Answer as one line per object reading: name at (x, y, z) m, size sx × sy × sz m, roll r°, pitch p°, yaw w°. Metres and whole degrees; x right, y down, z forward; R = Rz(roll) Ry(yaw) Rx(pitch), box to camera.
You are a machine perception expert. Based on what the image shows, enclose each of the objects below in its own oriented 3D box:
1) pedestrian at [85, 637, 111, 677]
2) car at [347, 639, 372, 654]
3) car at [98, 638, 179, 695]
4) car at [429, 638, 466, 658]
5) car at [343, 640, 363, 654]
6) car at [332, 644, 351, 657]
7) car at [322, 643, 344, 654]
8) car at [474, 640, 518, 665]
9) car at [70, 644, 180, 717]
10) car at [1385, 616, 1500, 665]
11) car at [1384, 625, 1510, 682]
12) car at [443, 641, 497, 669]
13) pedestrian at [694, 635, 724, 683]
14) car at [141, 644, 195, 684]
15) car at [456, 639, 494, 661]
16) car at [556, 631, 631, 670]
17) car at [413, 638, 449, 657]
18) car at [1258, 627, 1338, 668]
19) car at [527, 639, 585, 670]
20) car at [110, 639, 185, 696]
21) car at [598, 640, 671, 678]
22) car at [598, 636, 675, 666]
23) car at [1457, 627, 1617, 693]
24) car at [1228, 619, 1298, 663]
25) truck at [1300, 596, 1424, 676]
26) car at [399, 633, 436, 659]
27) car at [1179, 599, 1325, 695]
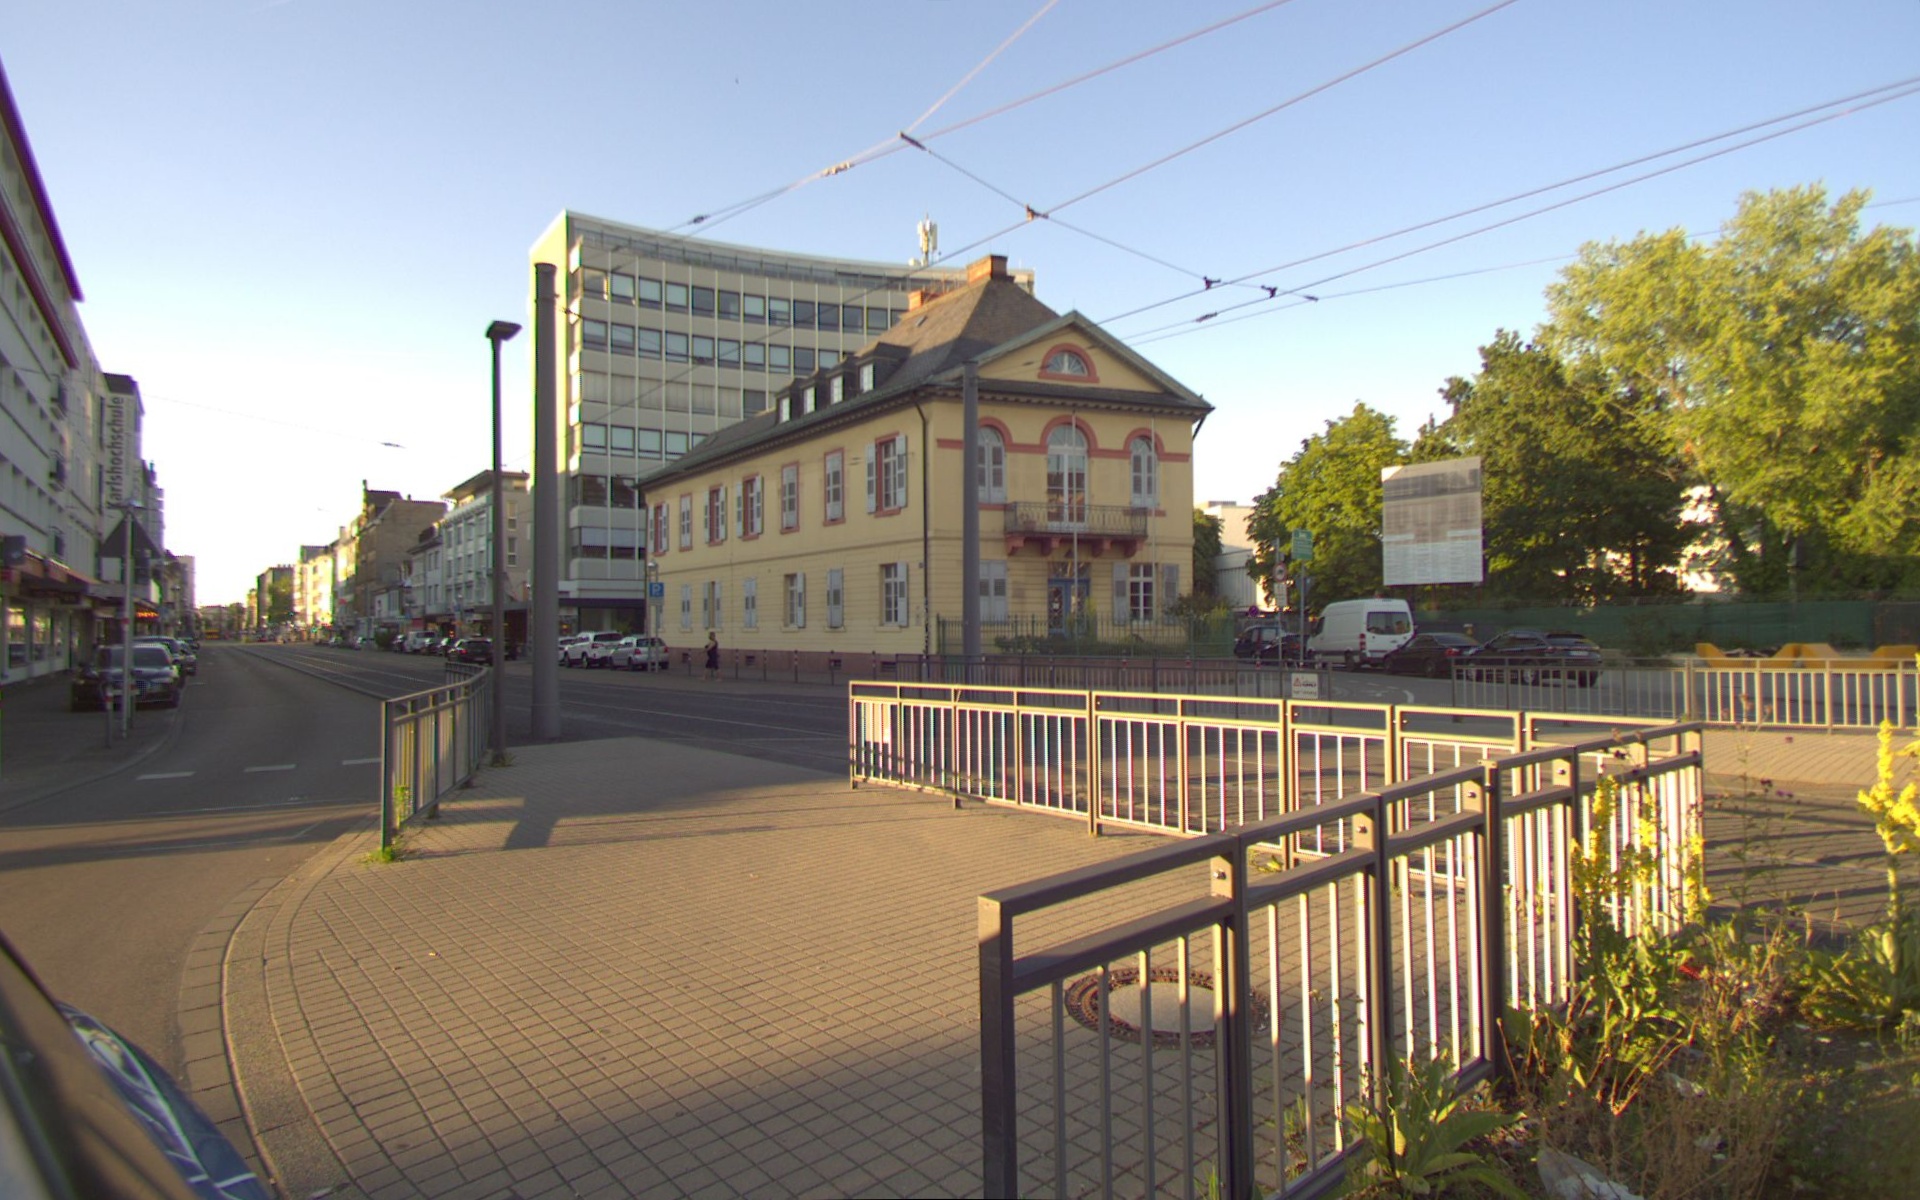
pedestrian at (-34.381, 2.268, 40.356) m, size 0.723 × 1.586 × 0.969 m, roll 1°, pitch -3°, yaw -38°
car at (-67.895, 5.242, 114.369) m, size 1.867 × 1.568 × 4.633 m, roll -1°, pitch -1°, yaw -37°
car at (-23.513, 1.851, 29.063) m, size 1.630 × 1.431 × 4.200 m, roll -1°, pitch -1°, yaw -37°
car at (-38.318, 3.595, 75.632) m, size 1.766 × 1.472 × 4.100 m, roll 1°, pitch -3°, yaw -36°
car at (-70.565, 5.460, 117.647) m, size 1.634 × 1.582 × 3.477 m, roll -1°, pitch -1°, yaw -38°
car at (-80.327, 6.506, 131.420) m, size 1.817 × 1.504 × 3.824 m, roll -1°, pitch -1°, yaw -37°
car at (-87.420, 6.751, 141.114) m, size 1.968 × 1.431 × 4.411 m, roll -1°, pitch -1°, yaw -39°
car at (-29.273, 3.309, 63.806) m, size 1.670 × 1.436 × 3.973 m, roll -2°, pitch -1°, yaw -37°
car at (-19.337, 1.796, 23.590) m, size 1.767 × 1.423 × 4.697 m, roll -1°, pitch -1°, yaw -37°
car at (20.874, 1.745, 43.897) m, size 1.969 × 2.029 × 4.006 m, roll 1°, pitch -3°, yaw -41°
car at (15.519, 1.654, 32.502) m, size 1.971 × 1.589 × 4.001 m, roll -2°, pitch -1°, yaw -1°
car at (-25.788, 2.847, 53.238) m, size 1.744 × 1.387 × 4.231 m, roll 1°, pitch -2°, yaw -37°
pedestrian at (-8.152, 1.907, 32.892) m, size 0.710 × 1.548 × 0.720 m, roll 2°, pitch -3°, yaw -41°
car at (-34.984, 2.778, 44.738) m, size 1.769 × 1.544 × 4.866 m, roll -1°, pitch -1°, yaw -38°
car at (-32.806, 3.378, 68.410) m, size 1.669 × 1.445 × 3.600 m, roll 0°, pitch -2°, yaw -37°
car at (-17.323, 2.377, 47.721) m, size 1.863 × 1.673 × 4.769 m, roll -1°, pitch -1°, yaw -39°
car at (-42.395, 3.796, 81.083) m, size 1.847 × 1.437 × 4.581 m, roll -1°, pitch -1°, yaw -37°
car at (14.526, 2.016, 43.724) m, size 1.971 × 1.589 × 4.001 m, roll -2°, pitch -1°, yaw -1°
car at (-21.177, 2.834, 52.966) m, size 1.698 × 1.464 × 4.292 m, roll -1°, pitch -1°, yaw -38°
car at (-27.112, 2.190, 33.878) m, size 1.832 × 1.714 × 4.427 m, roll -1°, pitch -1°, yaw -38°
car at (-14.035, 2.525, 43.571) m, size 1.725 × 1.485 × 4.008 m, roll -1°, pitch -2°, yaw -37°
car at (-19.286, 3.016, 60.380) m, size 3.937 × 1.565 × 1.917 m, roll -1°, pitch -1°, yaw -39°
car at (15.706, 1.585, 27.839) m, size 1.971 × 1.558 × 4.001 m, roll -2°, pitch -1°, yaw -1°
car at (14.449, 1.912, 48.451) m, size 1.971 × 1.900 × 4.001 m, roll -2°, pitch -1°, yaw -1°
truck at (14.993, 1.297, 38.176) m, size 2.164 × 2.719 × 5.470 m, roll -2°, pitch -1°, yaw -3°
car at (-46.691, 3.926, 87.104) m, size 1.939 × 2.029 × 5.110 m, roll -1°, pitch -1°, yaw -38°
car at (6.929, 1.078, 23.758) m, size 1.997 × 2.029 × 3.950 m, roll -2°, pitch -3°, yaw 37°
